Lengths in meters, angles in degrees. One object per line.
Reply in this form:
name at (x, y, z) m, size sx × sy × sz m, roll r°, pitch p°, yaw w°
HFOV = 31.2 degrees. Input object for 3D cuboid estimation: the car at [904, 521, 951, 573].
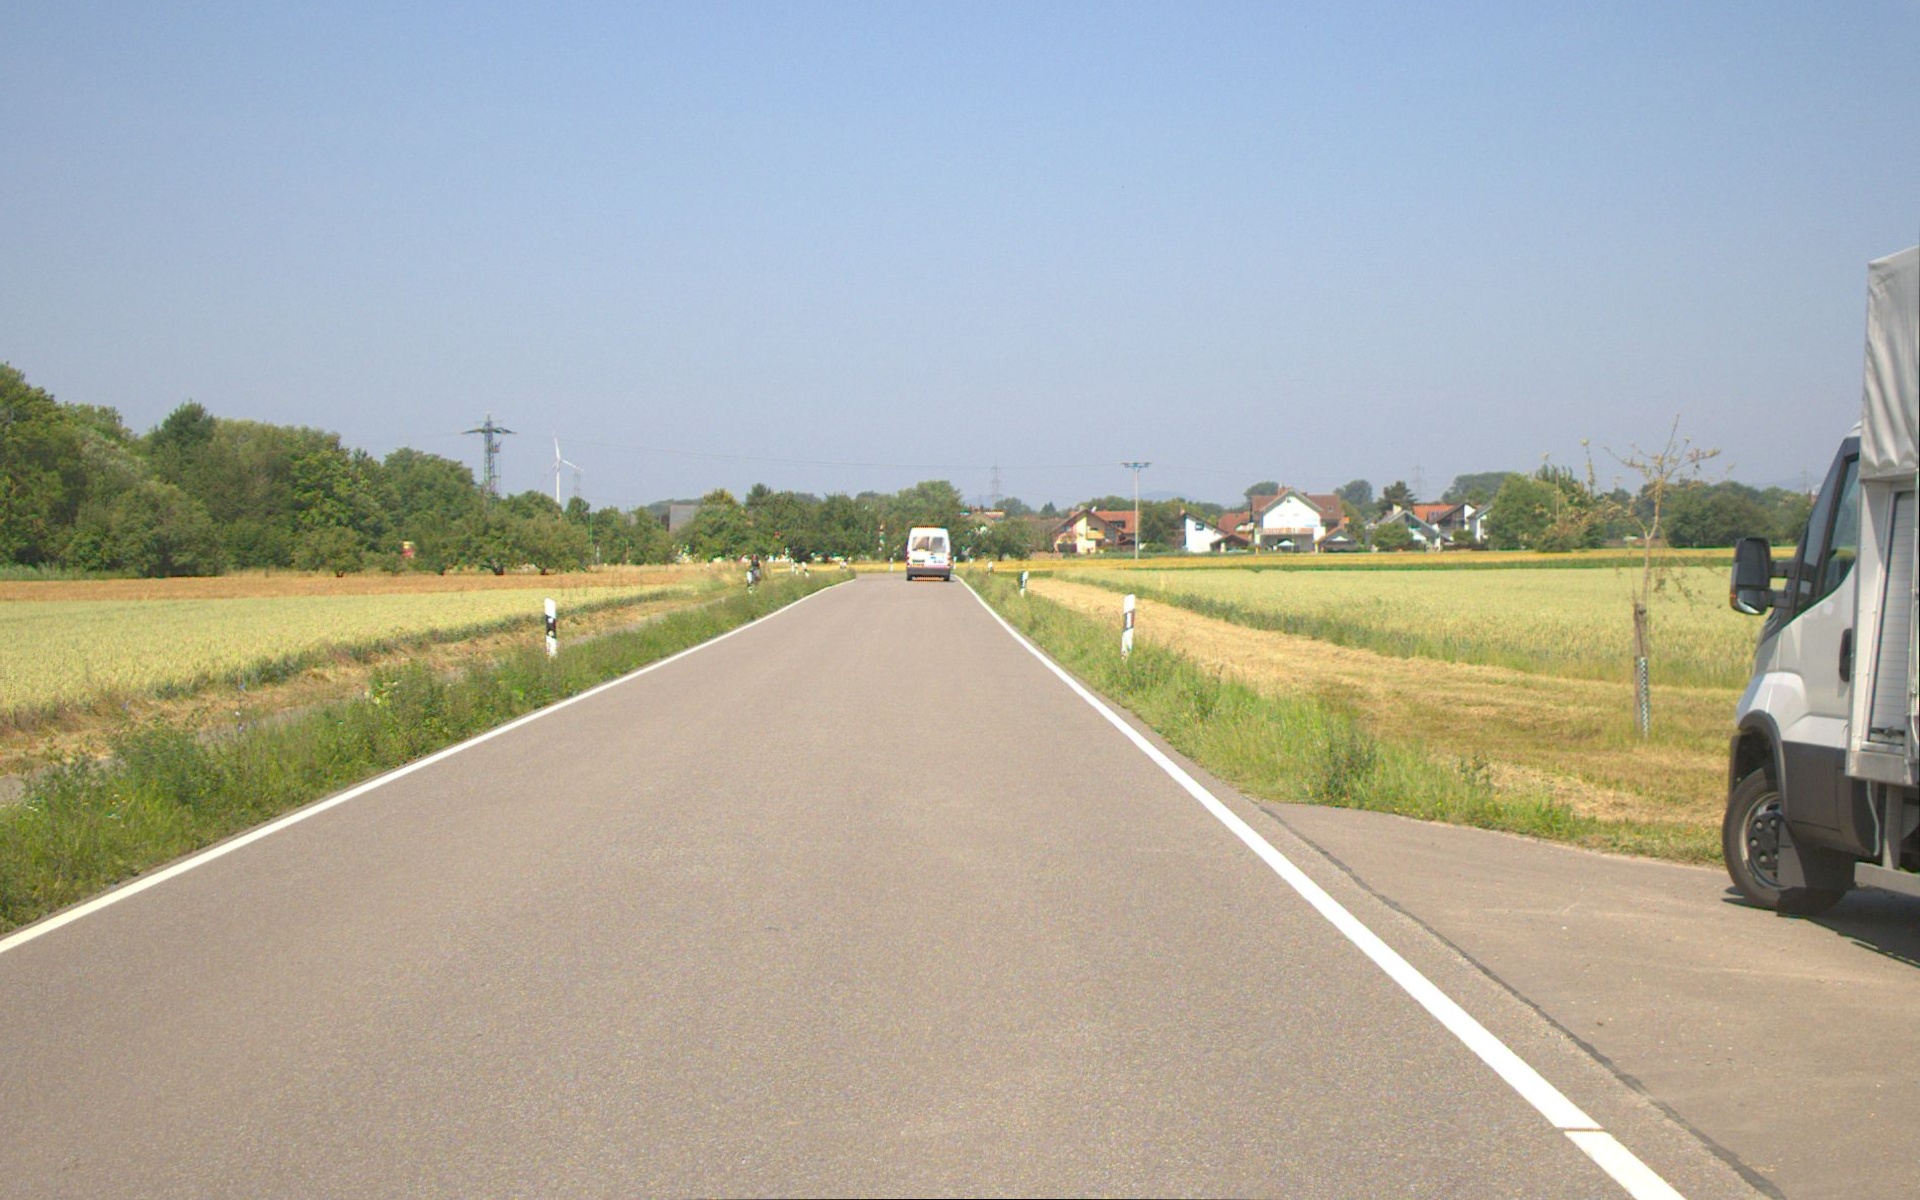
car at (-1.528, -2.471, 160.613) m, size 2.107 × 2.296 × 5.496 m, roll 1°, pitch 1°, yaw -1°

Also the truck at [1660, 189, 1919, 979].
truck at (4.727, -0.031, 12.947) m, size 2.335 × 2.932 × 7.009 m, roll 3°, pitch 1°, yaw -3°
